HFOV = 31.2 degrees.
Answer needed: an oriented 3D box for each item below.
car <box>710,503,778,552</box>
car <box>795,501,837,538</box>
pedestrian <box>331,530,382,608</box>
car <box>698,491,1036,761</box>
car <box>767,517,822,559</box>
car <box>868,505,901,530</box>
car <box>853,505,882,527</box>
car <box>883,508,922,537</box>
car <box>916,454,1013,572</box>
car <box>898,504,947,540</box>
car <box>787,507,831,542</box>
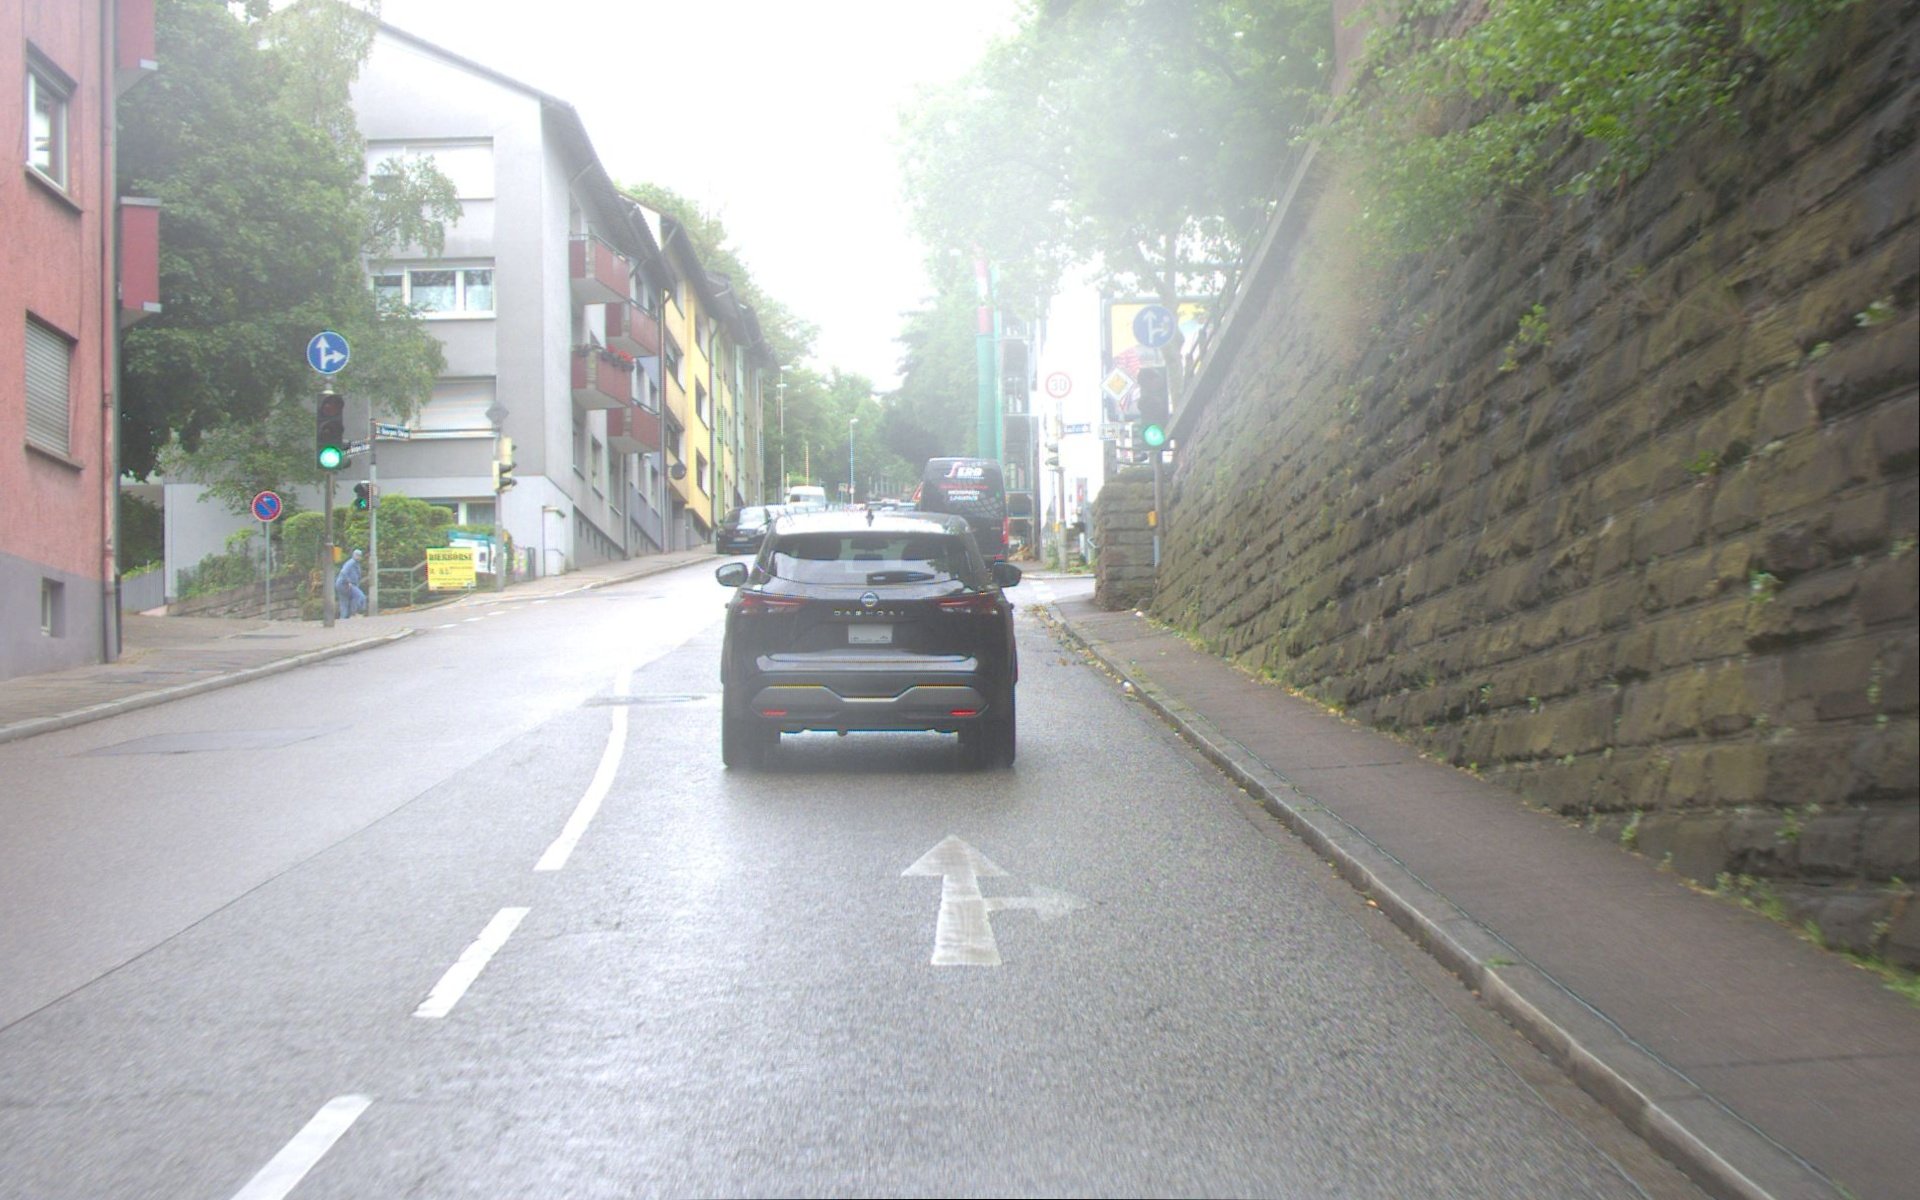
[{"bbox_3d":[-7.724,-2.621,123.470,1.993,1.644,4.442,-1,2,2],"label":"car"},{"bbox_3d":[-7.121,-4.016,170.372,1.990,1.749,4.481,-1,2,-2],"label":"car"},{"bbox_3d":[-12.047,-0.606,68.664,0.869,1.536,1.087,1,-1,-4],"label":"pedestrian"},{"bbox_3d":[-0.573,0.095,22.417,1.993,1.554,4.001,1,2,-1],"label":"car"},{"bbox_3d":[-7.026,-2.656,146.353,1.993,1.644,4.442,-1,2,2],"label":"car"},{"bbox_3d":[-4.817,-5.263,219.088,2.074,1.554,4.001,0,2,-2],"label":"car"},{"bbox_3d":[-6.682,-6.036,247.165,2.074,1.554,4.001,0,2,-2],"label":"car"},{"bbox_3d":[-3.193,-4.285,190.213,2.074,1.554,4.001,0,2,-2],"label":"car"},{"bbox_3d":[0.142,-1.875,76.083,1.993,2.405,5.836,1,0,1],"label":"car"},{"bbox_3d":[-1.673,-3.495,152.913,2.074,1.554,4.001,0,2,-2],"label":"car"},{"bbox_3d":[-7.169,-3.593,163.233,1.990,1.579,4.306,-1,2,-2],"label":"car"}]
